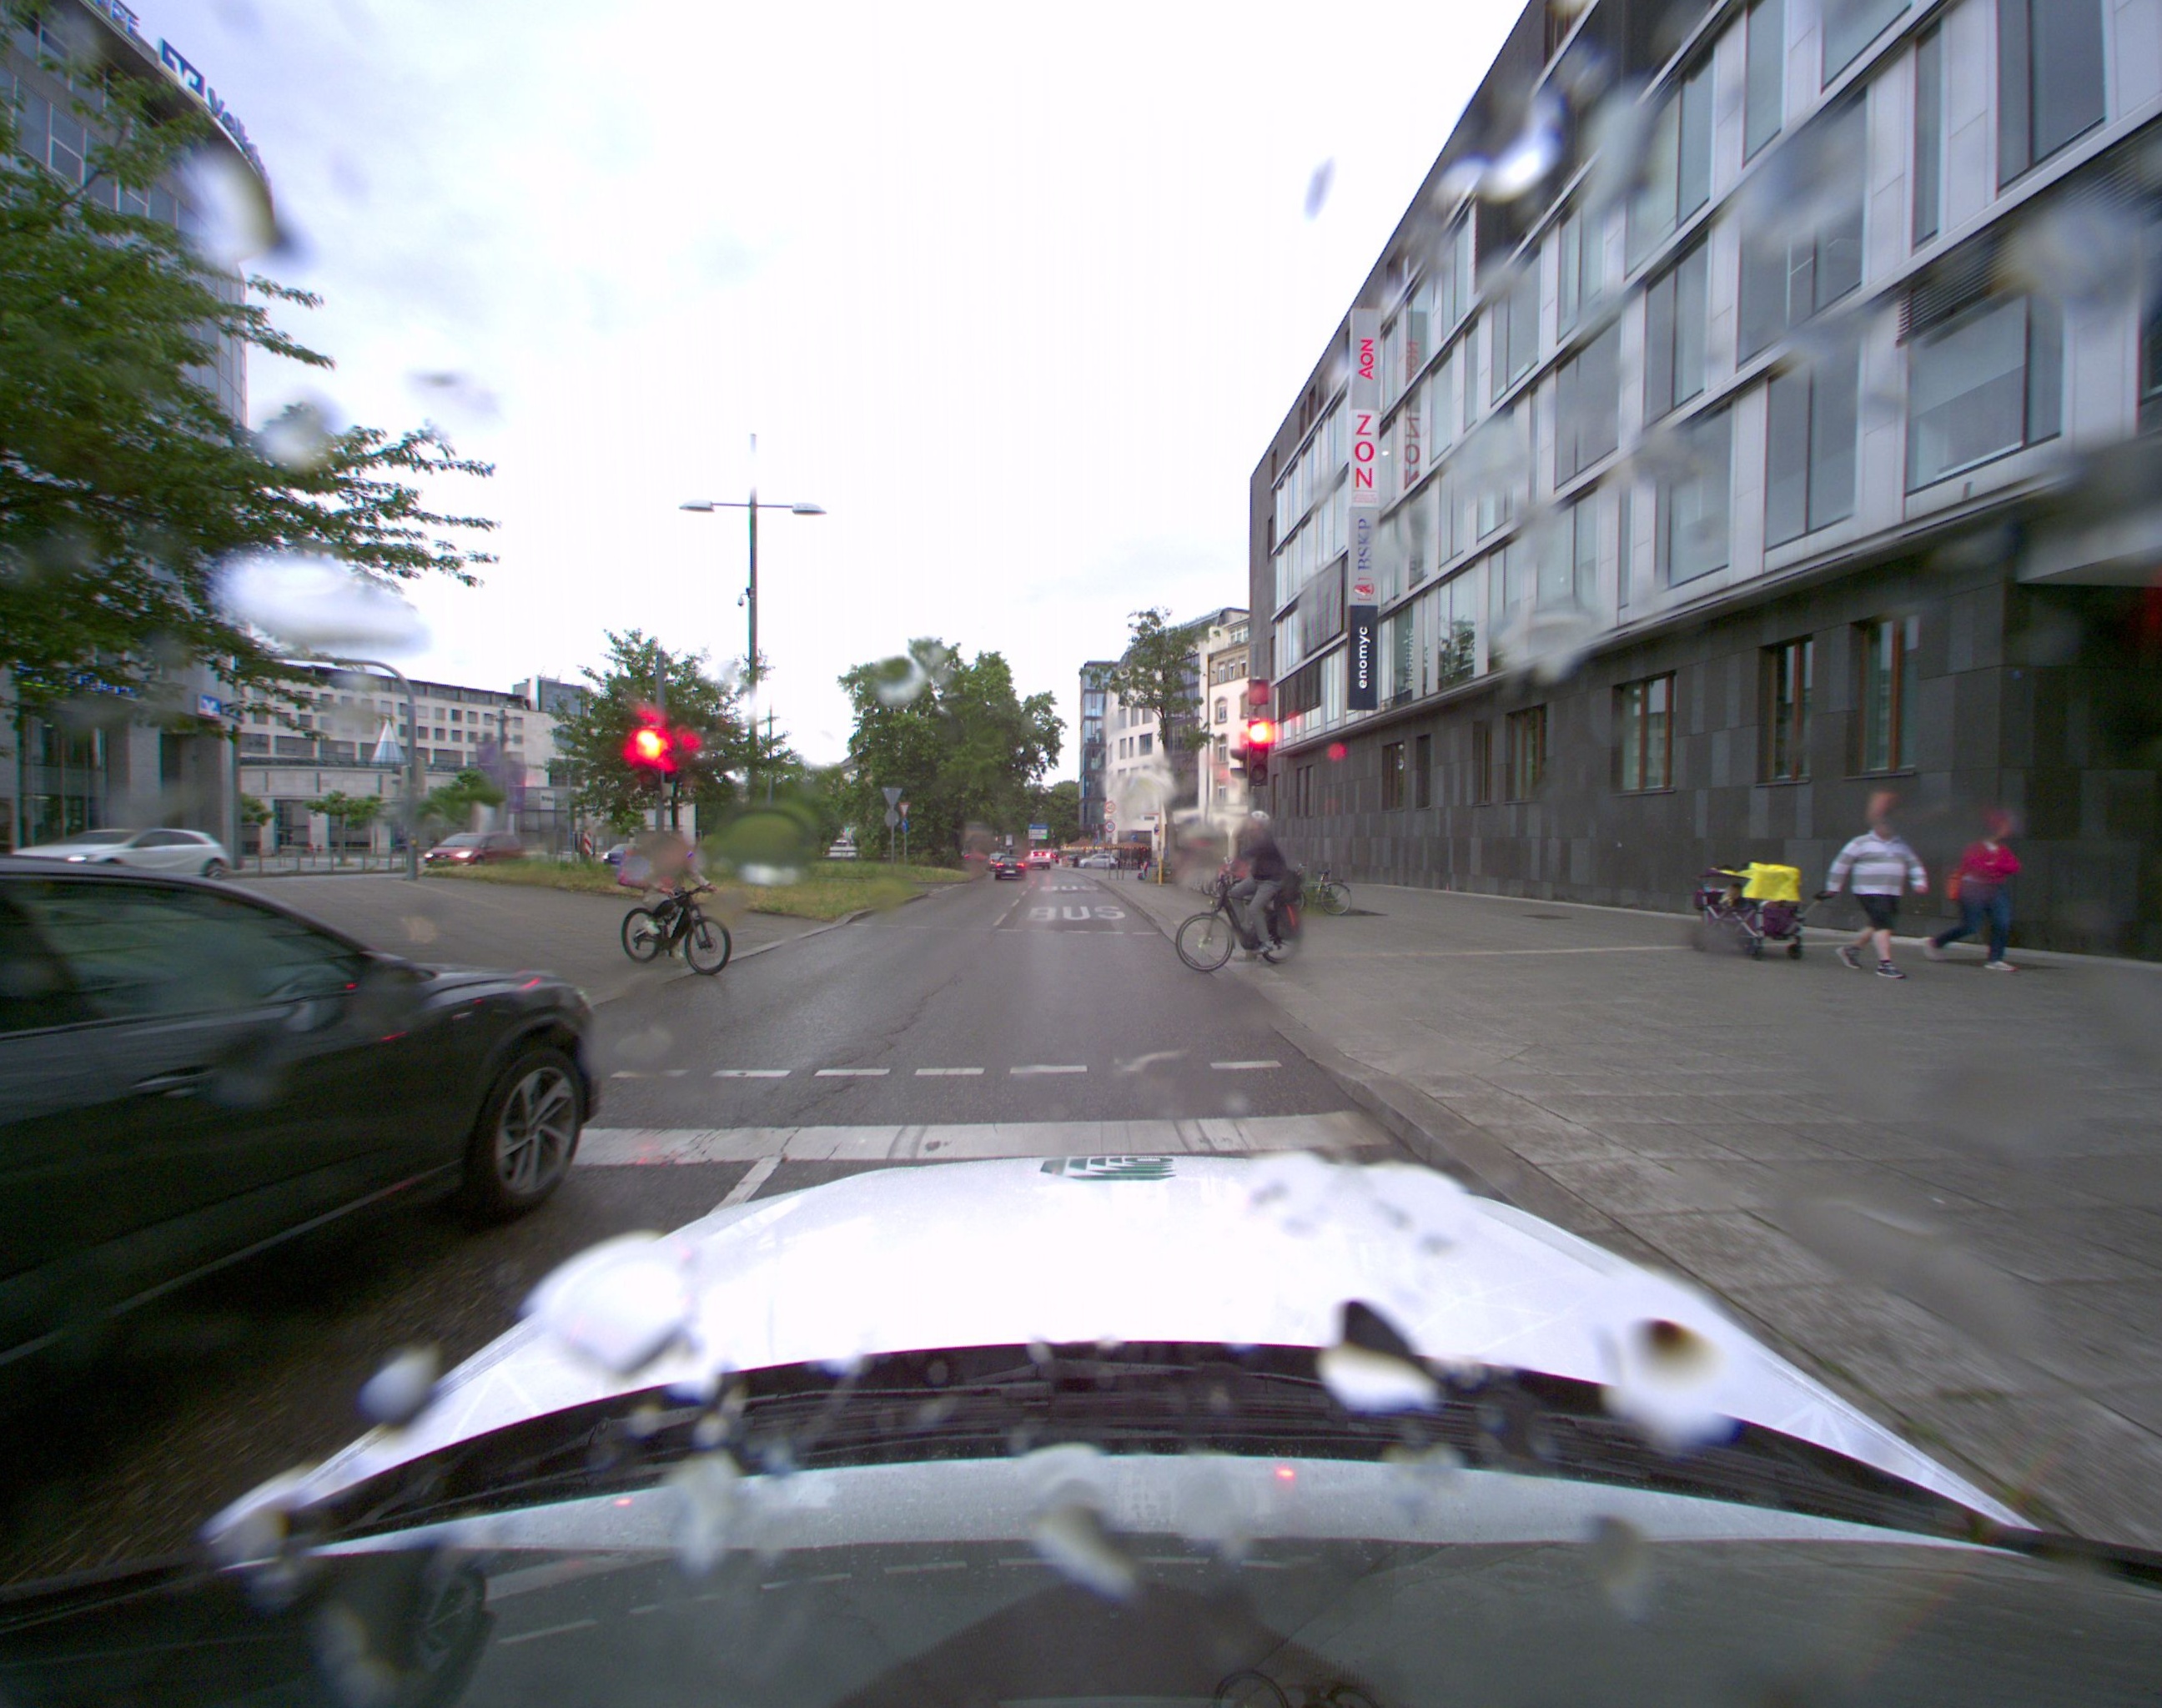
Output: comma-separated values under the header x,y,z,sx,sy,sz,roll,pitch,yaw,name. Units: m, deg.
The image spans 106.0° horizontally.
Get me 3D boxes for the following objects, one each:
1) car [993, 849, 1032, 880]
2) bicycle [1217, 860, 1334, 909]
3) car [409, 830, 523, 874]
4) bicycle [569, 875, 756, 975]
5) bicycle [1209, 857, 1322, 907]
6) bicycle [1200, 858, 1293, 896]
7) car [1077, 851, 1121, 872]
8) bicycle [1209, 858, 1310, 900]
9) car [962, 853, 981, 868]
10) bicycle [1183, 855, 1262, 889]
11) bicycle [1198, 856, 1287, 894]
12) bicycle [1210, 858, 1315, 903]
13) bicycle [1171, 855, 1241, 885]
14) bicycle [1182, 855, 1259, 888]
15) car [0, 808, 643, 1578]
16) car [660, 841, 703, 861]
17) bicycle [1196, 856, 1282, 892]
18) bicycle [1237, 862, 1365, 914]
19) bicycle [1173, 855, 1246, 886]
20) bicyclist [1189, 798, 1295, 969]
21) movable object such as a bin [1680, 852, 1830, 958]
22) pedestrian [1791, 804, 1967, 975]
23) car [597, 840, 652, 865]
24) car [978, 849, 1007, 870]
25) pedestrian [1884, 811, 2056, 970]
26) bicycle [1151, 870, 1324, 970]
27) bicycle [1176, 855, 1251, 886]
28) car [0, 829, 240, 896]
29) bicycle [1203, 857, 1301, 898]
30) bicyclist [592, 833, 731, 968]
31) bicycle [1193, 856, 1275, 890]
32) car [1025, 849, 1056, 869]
x,y,z,sx,sy,sz,roll,pitch,yaw,name
-3.959,0.559,47.543,2.158,1.706,4.546,0,0,-5,car
4.455,0.680,18.730,2.530,1.087,0.677,0,0,-3,bicycle
-25.689,-0.098,34.254,1.723,1.727,4.572,0,0,-7,car
-5.377,0.861,10.486,2.043,1.114,1.017,1,-1,22,bicycle
4.403,0.672,19.535,2.530,1.087,0.677,2,0,-3,bicycle
4.726,0.643,23.288,2.530,1.060,0.677,0,0,-3,bicycle
1.683,0.687,77.392,3.977,1.647,1.998,4,0,-2,car
4.725,0.649,21.609,2.530,1.087,0.677,0,0,-3,bicycle
-12.020,0.677,89.123,1.944,1.646,3.988,0,0,-9,car
4.718,0.603,27.214,2.530,1.087,0.677,0,0,-3,bicycle
4.783,0.626,24.196,2.530,1.087,0.677,0,0,-3,bicycle
4.600,0.671,20.757,2.530,1.087,0.677,0,0,-3,bicycle
4.642,0.591,30.328,2.530,1.087,0.627,0,0,-3,bicycle
4.776,0.585,27.965,2.530,1.087,0.677,0,0,-3,bicycle
-3.182,0.693,2.086,1.842,1.616,4.251,1,1,-1,car
-32.176,-0.259,65.741,1.803,1.486,4.372,2,0,-8,car
4.912,0.608,25.390,2.530,1.087,0.677,0,0,-3,bicycle
4.636,0.703,17.247,2.530,1.057,0.677,0,0,-3,bicycle
4.656,0.584,29.605,2.530,1.087,0.677,0,0,-3,bicycle
2.060,0.357,10.450,1.087,2.083,0.757,0,-1,-25,bicyclist
8.771,0.624,10.682,0.729,1.264,1.444,-2,0,-1,movable object such as a bin
8.955,0.373,9.193,0.898,1.792,1.045,-2,0,-4,pedestrian
-29.002,-0.124,51.903,1.805,1.486,3.986,2,0,-11,car
-7.440,0.451,67.972,1.947,1.646,4.227,0,0,-13,car
10.196,0.391,9.387,0.716,1.690,1.099,-2,0,-4,pedestrian
2.014,0.793,10.423,2.136,1.145,0.757,0,0,-25,bicycle
4.679,0.573,28.857,2.530,1.087,0.677,0,0,-3,bicycle
-23.760,0.180,20.167,1.818,1.475,4.183,0,0,-7,car
4.693,0.643,22.421,2.530,1.087,0.677,0,0,-3,bicycle
-5.375,0.564,10.479,1.123,1.582,1.020,3,0,22,bicyclist
4.931,0.605,26.369,2.530,1.087,0.677,0,0,-3,bicycle
-3.510,0.395,69.956,2.178,1.700,3.988,0,0,-9,car
